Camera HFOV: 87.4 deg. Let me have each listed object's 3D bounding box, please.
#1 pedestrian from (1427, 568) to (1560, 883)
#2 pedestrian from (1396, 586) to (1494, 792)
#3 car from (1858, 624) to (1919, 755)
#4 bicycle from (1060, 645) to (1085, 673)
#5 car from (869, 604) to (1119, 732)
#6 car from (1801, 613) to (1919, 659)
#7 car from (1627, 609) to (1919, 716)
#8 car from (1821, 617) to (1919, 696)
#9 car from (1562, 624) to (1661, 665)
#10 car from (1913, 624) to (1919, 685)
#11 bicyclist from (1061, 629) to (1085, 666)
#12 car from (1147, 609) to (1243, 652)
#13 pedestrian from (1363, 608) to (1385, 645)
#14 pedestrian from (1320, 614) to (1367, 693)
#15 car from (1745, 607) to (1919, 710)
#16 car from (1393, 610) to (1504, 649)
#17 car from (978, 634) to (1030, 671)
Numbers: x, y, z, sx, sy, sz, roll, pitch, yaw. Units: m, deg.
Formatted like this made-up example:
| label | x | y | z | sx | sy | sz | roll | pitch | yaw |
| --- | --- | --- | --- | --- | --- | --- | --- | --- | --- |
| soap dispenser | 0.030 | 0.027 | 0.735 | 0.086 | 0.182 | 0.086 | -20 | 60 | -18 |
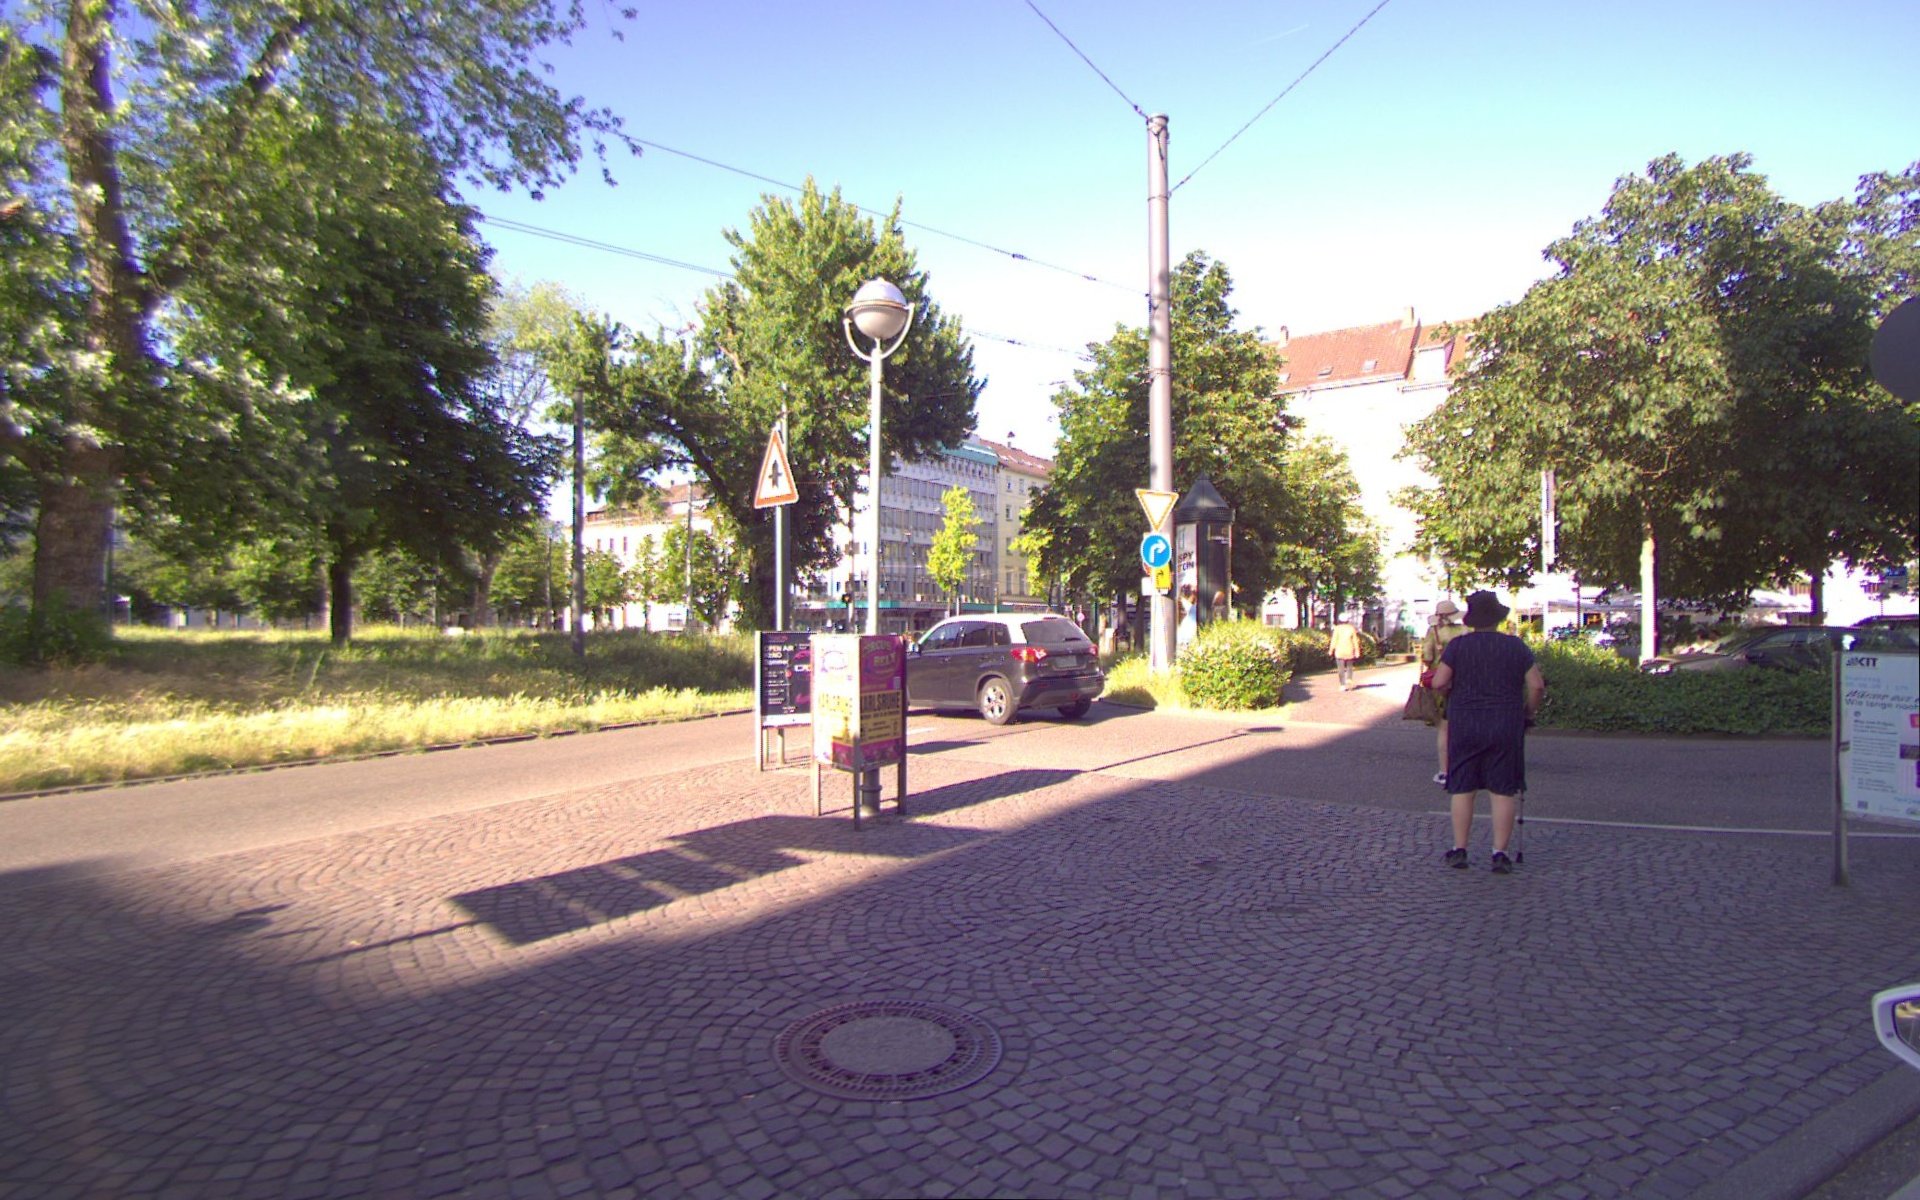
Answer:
| label | x | y | z | sx | sy | sz | roll | pitch | yaw |
| --- | --- | --- | --- | --- | --- | --- | --- | --- | --- |
| pedestrian | 3.114 | 0.679 | 5.857 | 0.627 | 1.694 | 0.691 | 1 | -1 | 30 |
| pedestrian | 4.303 | 0.759 | 8.959 | 0.656 | 1.721 | 0.805 | 1 | -1 | 18 |
| car | 12.927 | 1.061 | 11.454 | 4.735 | 1.435 | 1.910 | 2 | -1 | -18 |
| bicycle | 4.804 | 2.499 | 42.865 | 0.796 | 1.083 | 2.585 | 1 | -1 | 11 |
| car | 0.416 | 0.982 | 15.490 | 1.797 | 1.704 | 3.827 | 2 | -3 | -39 |
| car | 39.412 | 1.519 | 42.797 | 5.191 | 1.823 | 2.158 | 1 | -1 | 33 |
| car | 13.165 | 0.945 | 16.032 | 3.924 | 1.489 | 1.873 | 1 | -1 | 25 |
| car | 20.973 | 1.221 | 21.177 | 1.731 | 1.619 | 3.963 | 2 | -1 | -33 |
| car | 31.315 | 2.097 | 48.308 | 3.857 | 1.794 | 1.974 | 1 | -1 | 37 |
| car | 26.070 | 1.399 | 23.911 | 4.777 | 1.508 | 1.757 | 1 | -1 | 40 |
| bicyclist | 4.818 | 2.028 | 42.904 | 0.913 | 1.527 | 0.826 | 1 | -1 | 11 |
| car | 14.170 | 1.813 | 60.672 | 5.267 | 2.344 | 1.993 | 1 | -1 | 37 |
| pedestrian | 17.892 | 1.151 | 43.405 | 0.549 | 1.567 | 0.671 | 2 | -1 | -13 |
| pedestrian | 7.748 | 1.061 | 20.328 | 0.755 | 1.542 | 0.959 | 1 | -1 | 15 |
| car | 16.480 | 0.993 | 17.737 | 3.945 | 1.690 | 1.988 | 1 | 0 | 44 |
| car | 27.706 | 1.645 | 57.075 | 5.499 | 2.040 | 1.813 | 1 | -1 | 33 |
| car | 1.974 | 2.243 | 43.781 | 1.959 | 1.442 | 4.199 | 1 | -1 | 6 |
